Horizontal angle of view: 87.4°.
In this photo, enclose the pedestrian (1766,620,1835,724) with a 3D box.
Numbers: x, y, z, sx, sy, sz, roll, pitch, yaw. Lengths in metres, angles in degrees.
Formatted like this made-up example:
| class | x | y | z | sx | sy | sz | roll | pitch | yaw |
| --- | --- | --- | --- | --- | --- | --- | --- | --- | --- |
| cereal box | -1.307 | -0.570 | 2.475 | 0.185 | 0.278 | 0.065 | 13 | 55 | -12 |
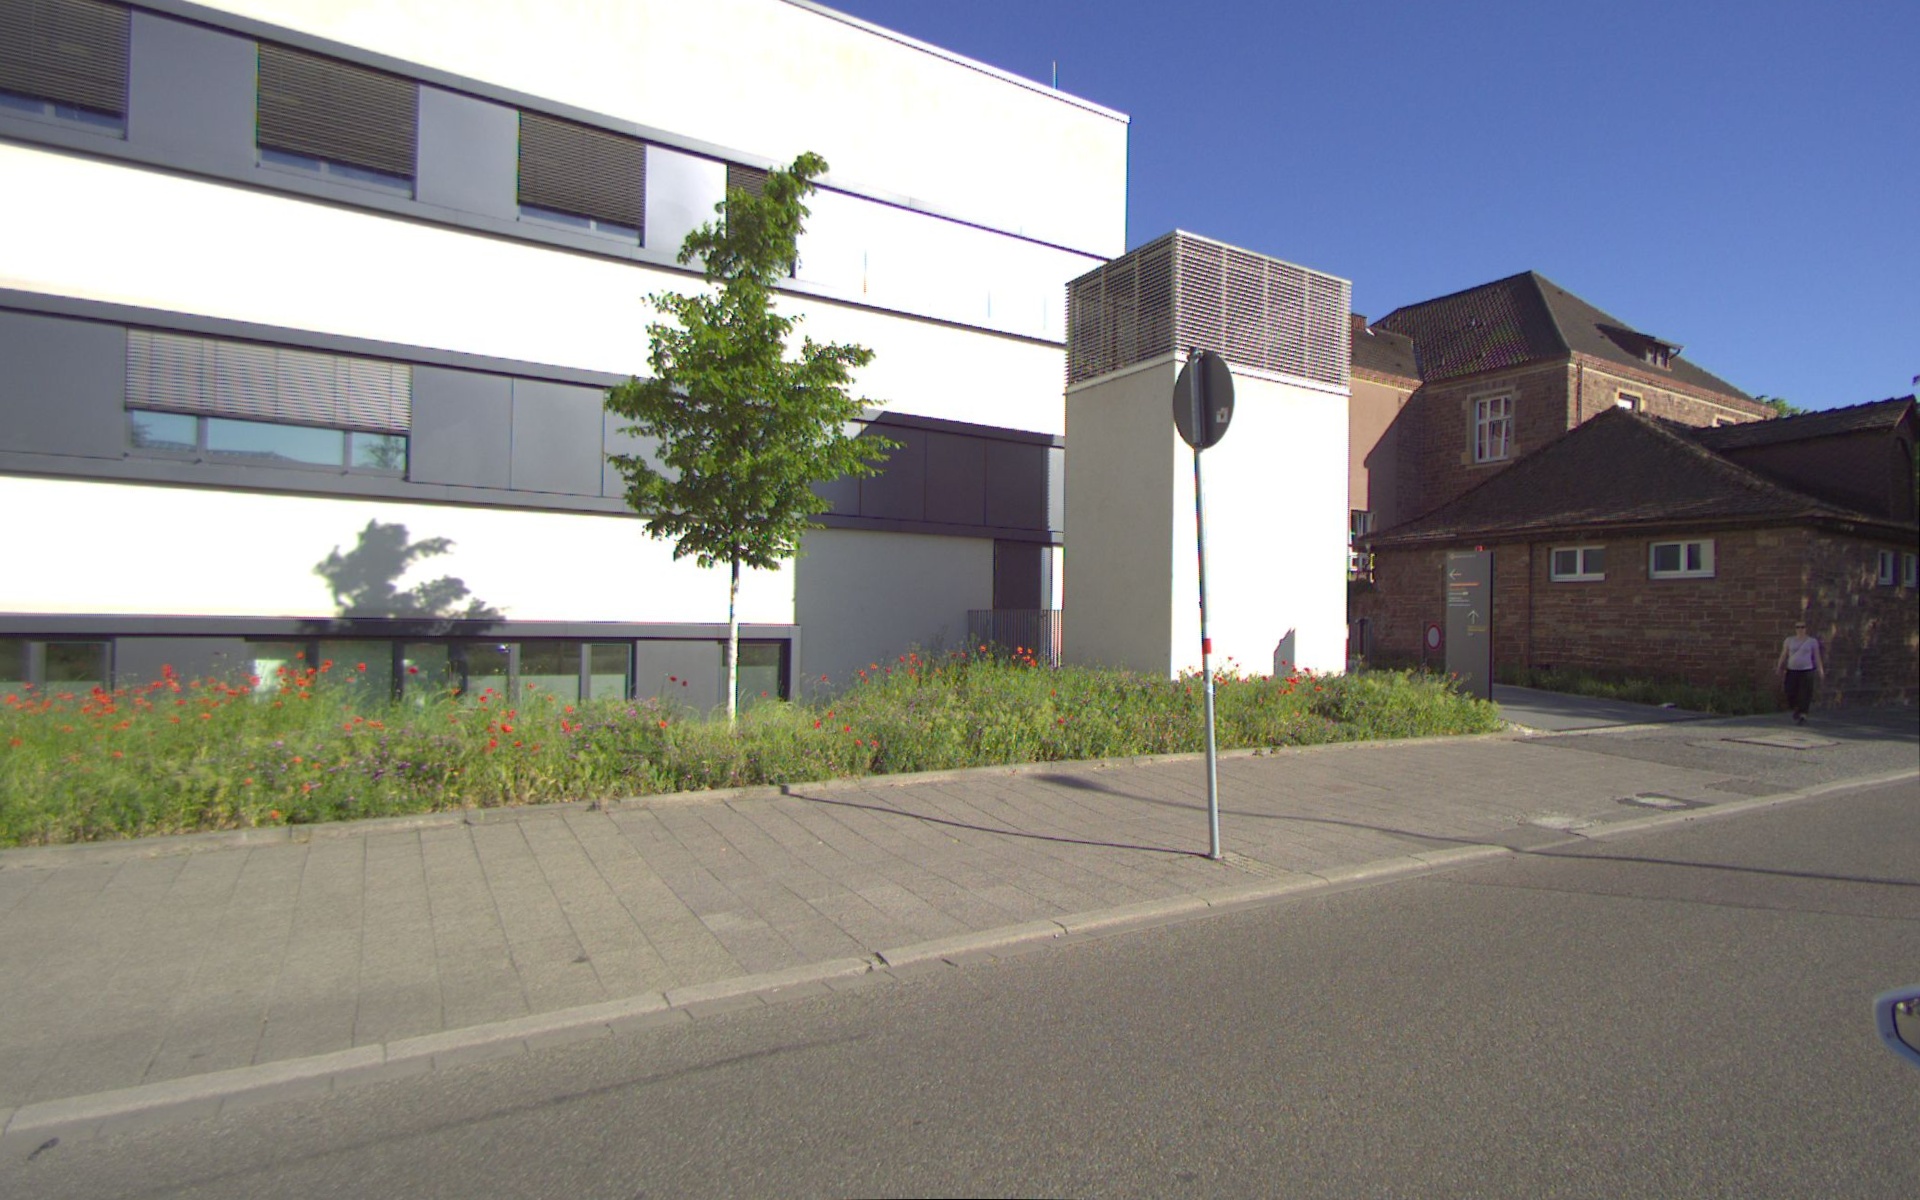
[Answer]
| class | x | y | z | sx | sy | sz | roll | pitch | yaw |
| --- | --- | --- | --- | --- | --- | --- | --- | --- | --- |
| pedestrian | 13.352 | 1.124 | 15.948 | 1.083 | 1.583 | 0.518 | 1 | -1 | -32 |
